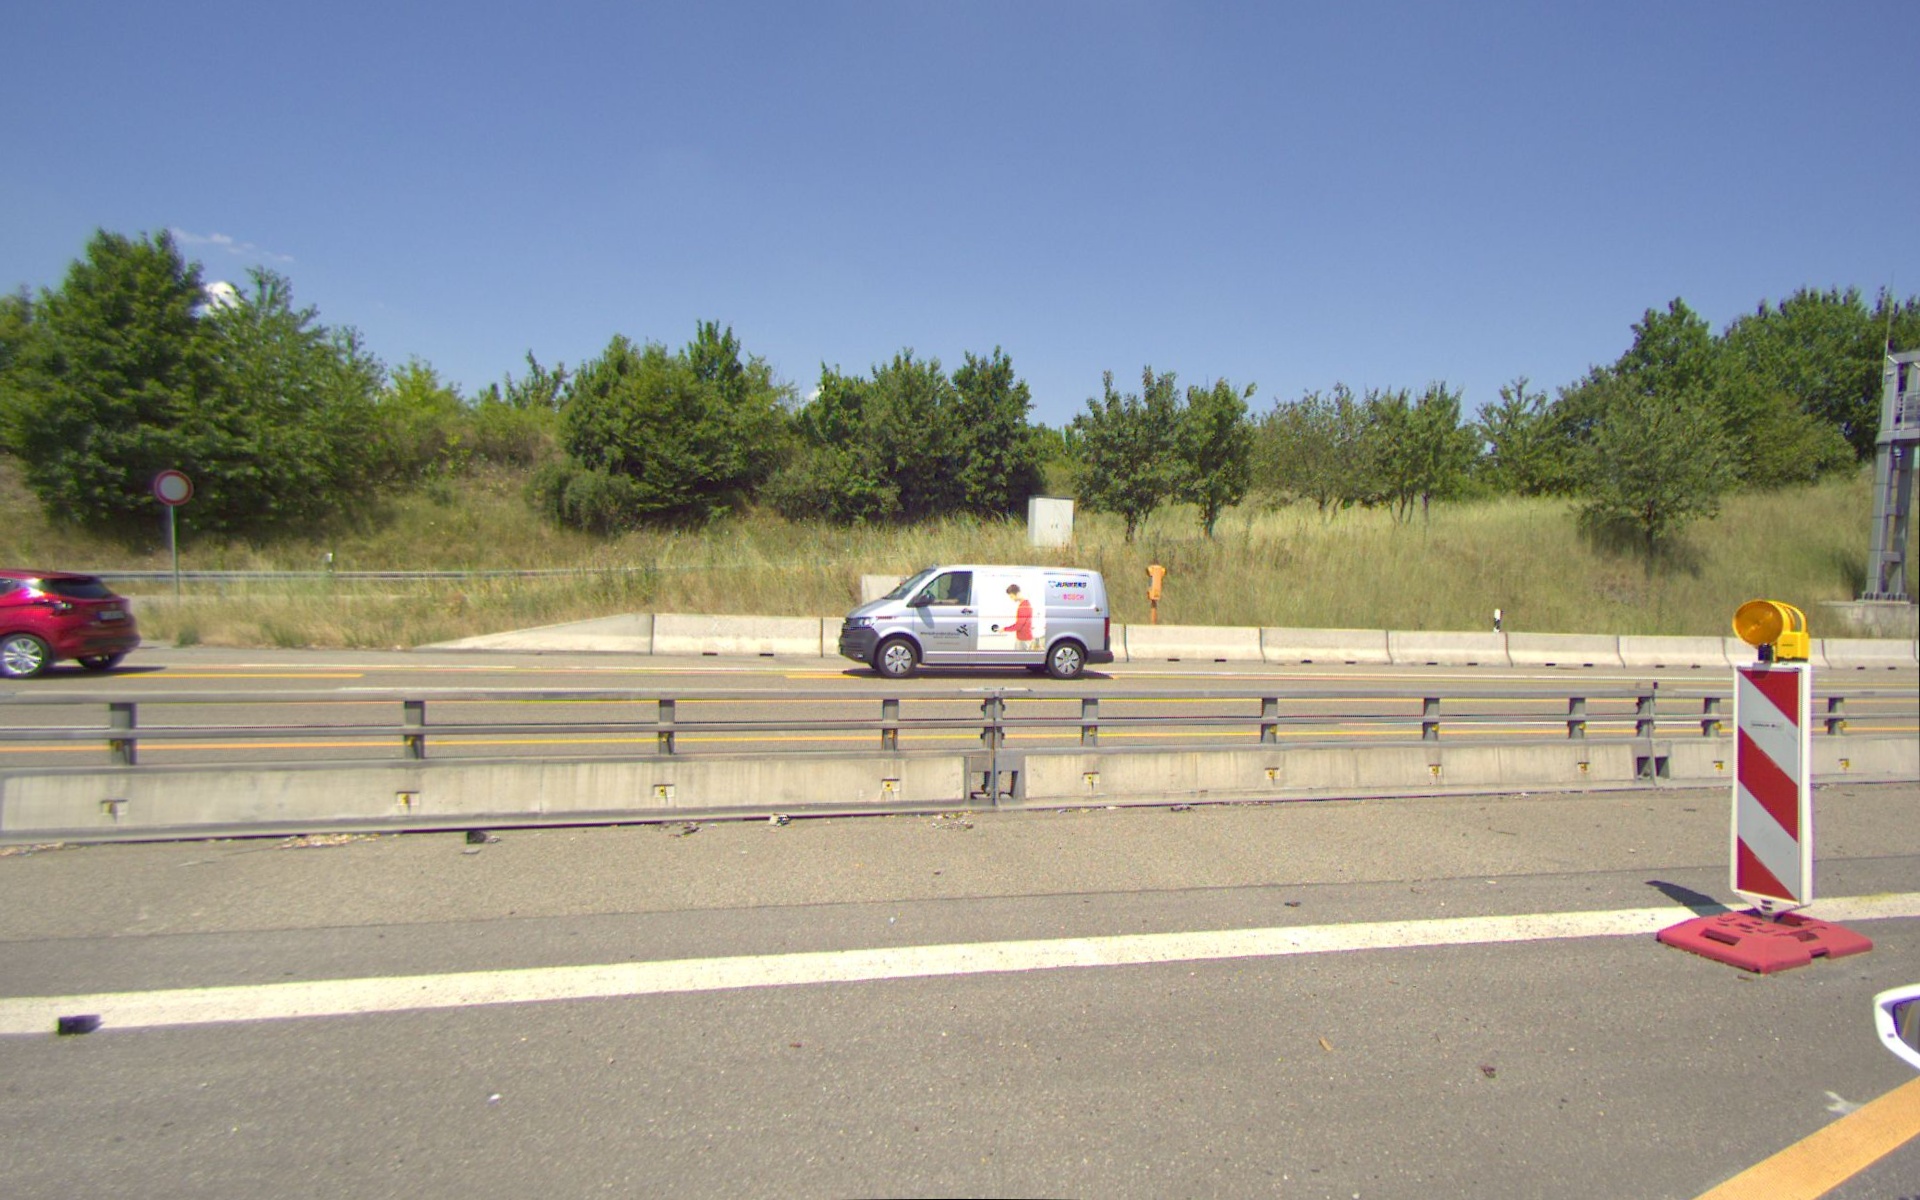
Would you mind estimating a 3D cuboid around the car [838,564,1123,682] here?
[{"bbox_3d":[0.332,0.423,17.731,4.707,1.859,1.688,2,0,-15],"label":"car"}]

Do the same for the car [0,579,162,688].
[{"bbox_3d":[-13.749,0.402,13.823,3.930,1.413,1.689,2,0,-12],"label":"car"}]
